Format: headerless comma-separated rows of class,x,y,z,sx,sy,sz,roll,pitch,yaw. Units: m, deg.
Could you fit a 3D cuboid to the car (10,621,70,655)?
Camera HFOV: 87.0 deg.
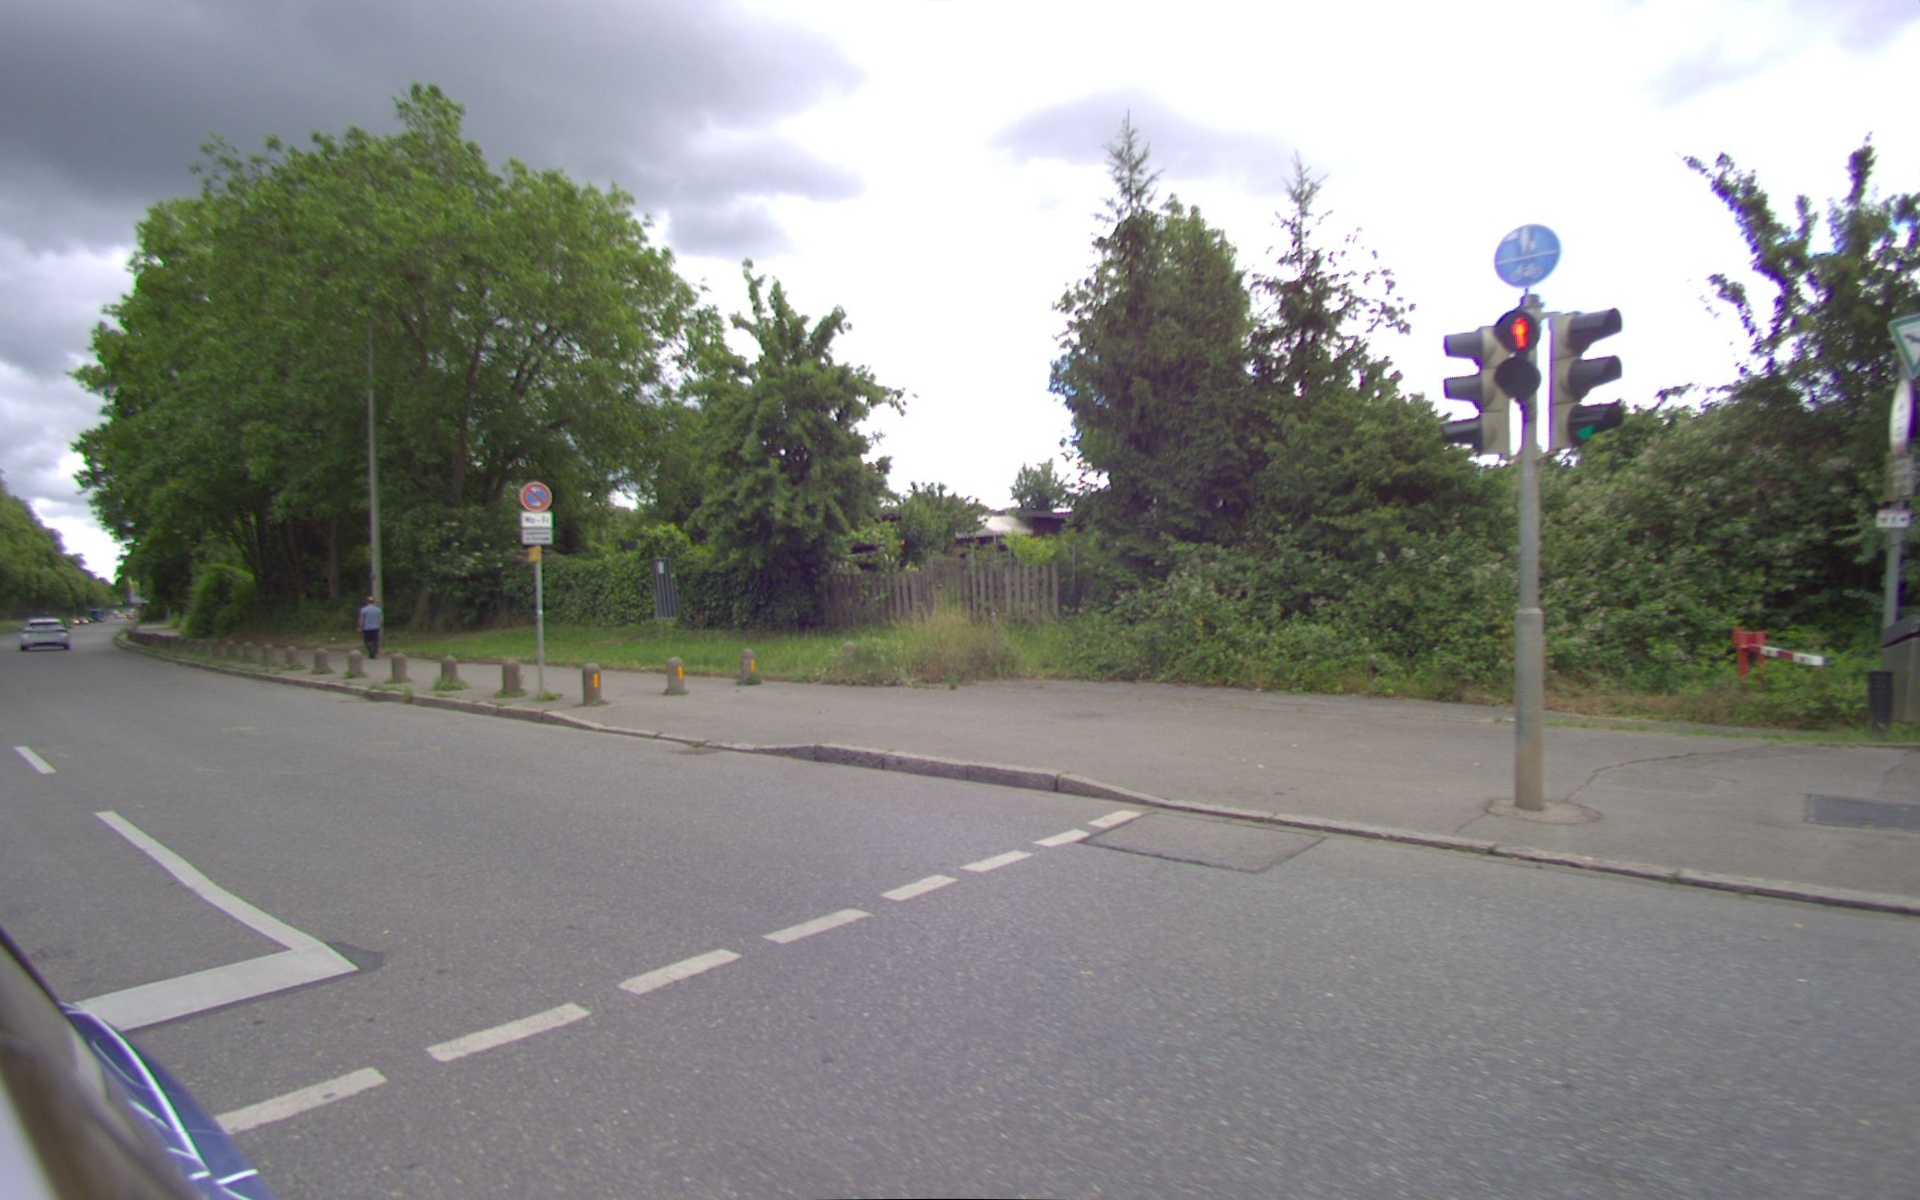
car,-43.067,1.752,47.342,4.362,1.450,1.753,-2,-1,44

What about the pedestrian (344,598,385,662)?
pedestrian,-16.079,0.801,27.321,0.682,1.646,0.838,-4,2,-45
